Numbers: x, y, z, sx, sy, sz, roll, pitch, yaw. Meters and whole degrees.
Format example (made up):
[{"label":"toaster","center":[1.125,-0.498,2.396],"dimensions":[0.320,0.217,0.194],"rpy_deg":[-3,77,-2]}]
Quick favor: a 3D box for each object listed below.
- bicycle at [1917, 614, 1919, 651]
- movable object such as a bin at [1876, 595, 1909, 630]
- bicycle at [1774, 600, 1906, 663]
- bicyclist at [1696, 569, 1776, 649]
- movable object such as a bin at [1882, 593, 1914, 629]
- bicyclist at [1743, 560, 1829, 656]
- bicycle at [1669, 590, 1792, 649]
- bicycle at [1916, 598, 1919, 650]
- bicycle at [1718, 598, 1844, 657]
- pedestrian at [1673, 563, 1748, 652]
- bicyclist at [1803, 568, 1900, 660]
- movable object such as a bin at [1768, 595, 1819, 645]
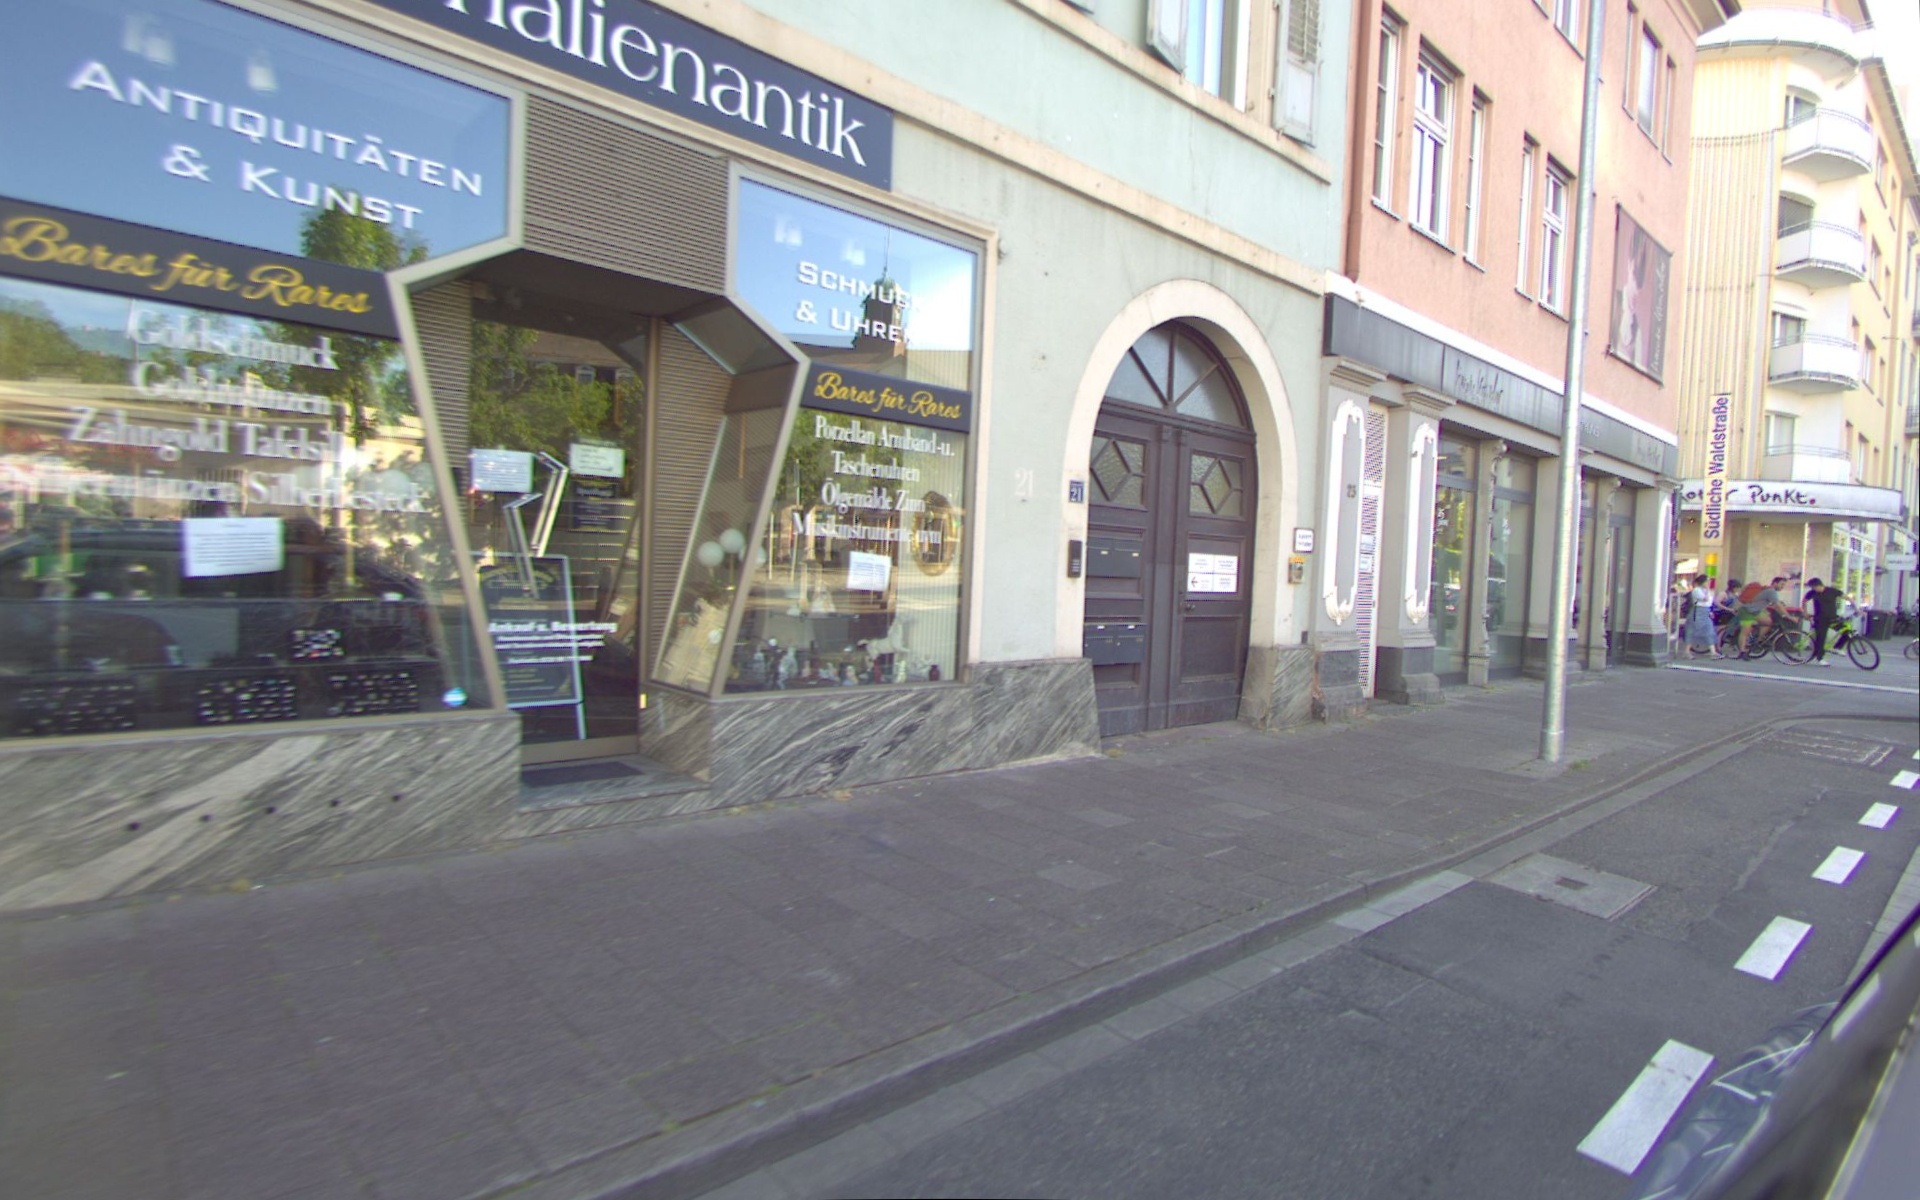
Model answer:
[{"label":"bicycle","center":[23.050,0.804,22.989],"dimensions":[1.843,0.841,0.730],"rpy_deg":[5,3,43]},{"label":"movable object such as a bin","center":[32.655,0.429,35.433],"dimensions":[0.944,1.174,0.702],"rpy_deg":[1,2,-41]},{"label":"bicycle","center":[17.200,0.597,19.840],"dimensions":[0.548,1.032,1.921],"rpy_deg":[2,3,-14]},{"label":"bicyclist","center":[16.190,0.174,21.142],"dimensions":[0.711,1.602,1.033],"rpy_deg":[2,2,-20]},{"label":"movable object such as a bin","center":[33.931,0.396,36.614],"dimensions":[0.944,1.254,0.702],"rpy_deg":[1,2,-41]},{"label":"bicyclist","center":[16.101,0.137,19.766],"dimensions":[1.133,1.783,0.744],"rpy_deg":[3,2,33]},{"label":"bicycle","center":[16.148,0.383,21.265],"dimensions":[0.718,1.110,1.925],"rpy_deg":[2,2,-20]},{"label":"bicycle","center":[23.466,0.613,23.362],"dimensions":[1.941,1.226,0.919],"rpy_deg":[5,3,43]},{"label":"bicycle","center":[16.024,0.521,19.805],"dimensions":[1.809,1.006,0.558],"rpy_deg":[4,2,34]},{"label":"pedestrian","center":[14.584,0.133,19.681],"dimensions":[0.751,1.679,0.817],"rpy_deg":[2,1,-5]},{"label":"bicyclist","center":[17.212,0.249,19.565],"dimensions":[0.711,1.705,1.135],"rpy_deg":[2,2,-14]},{"label":"movable object such as a bin","center":[19.871,0.465,24.128],"dimensions":[0.610,1.126,0.809],"rpy_deg":[1,3,-43]}]
